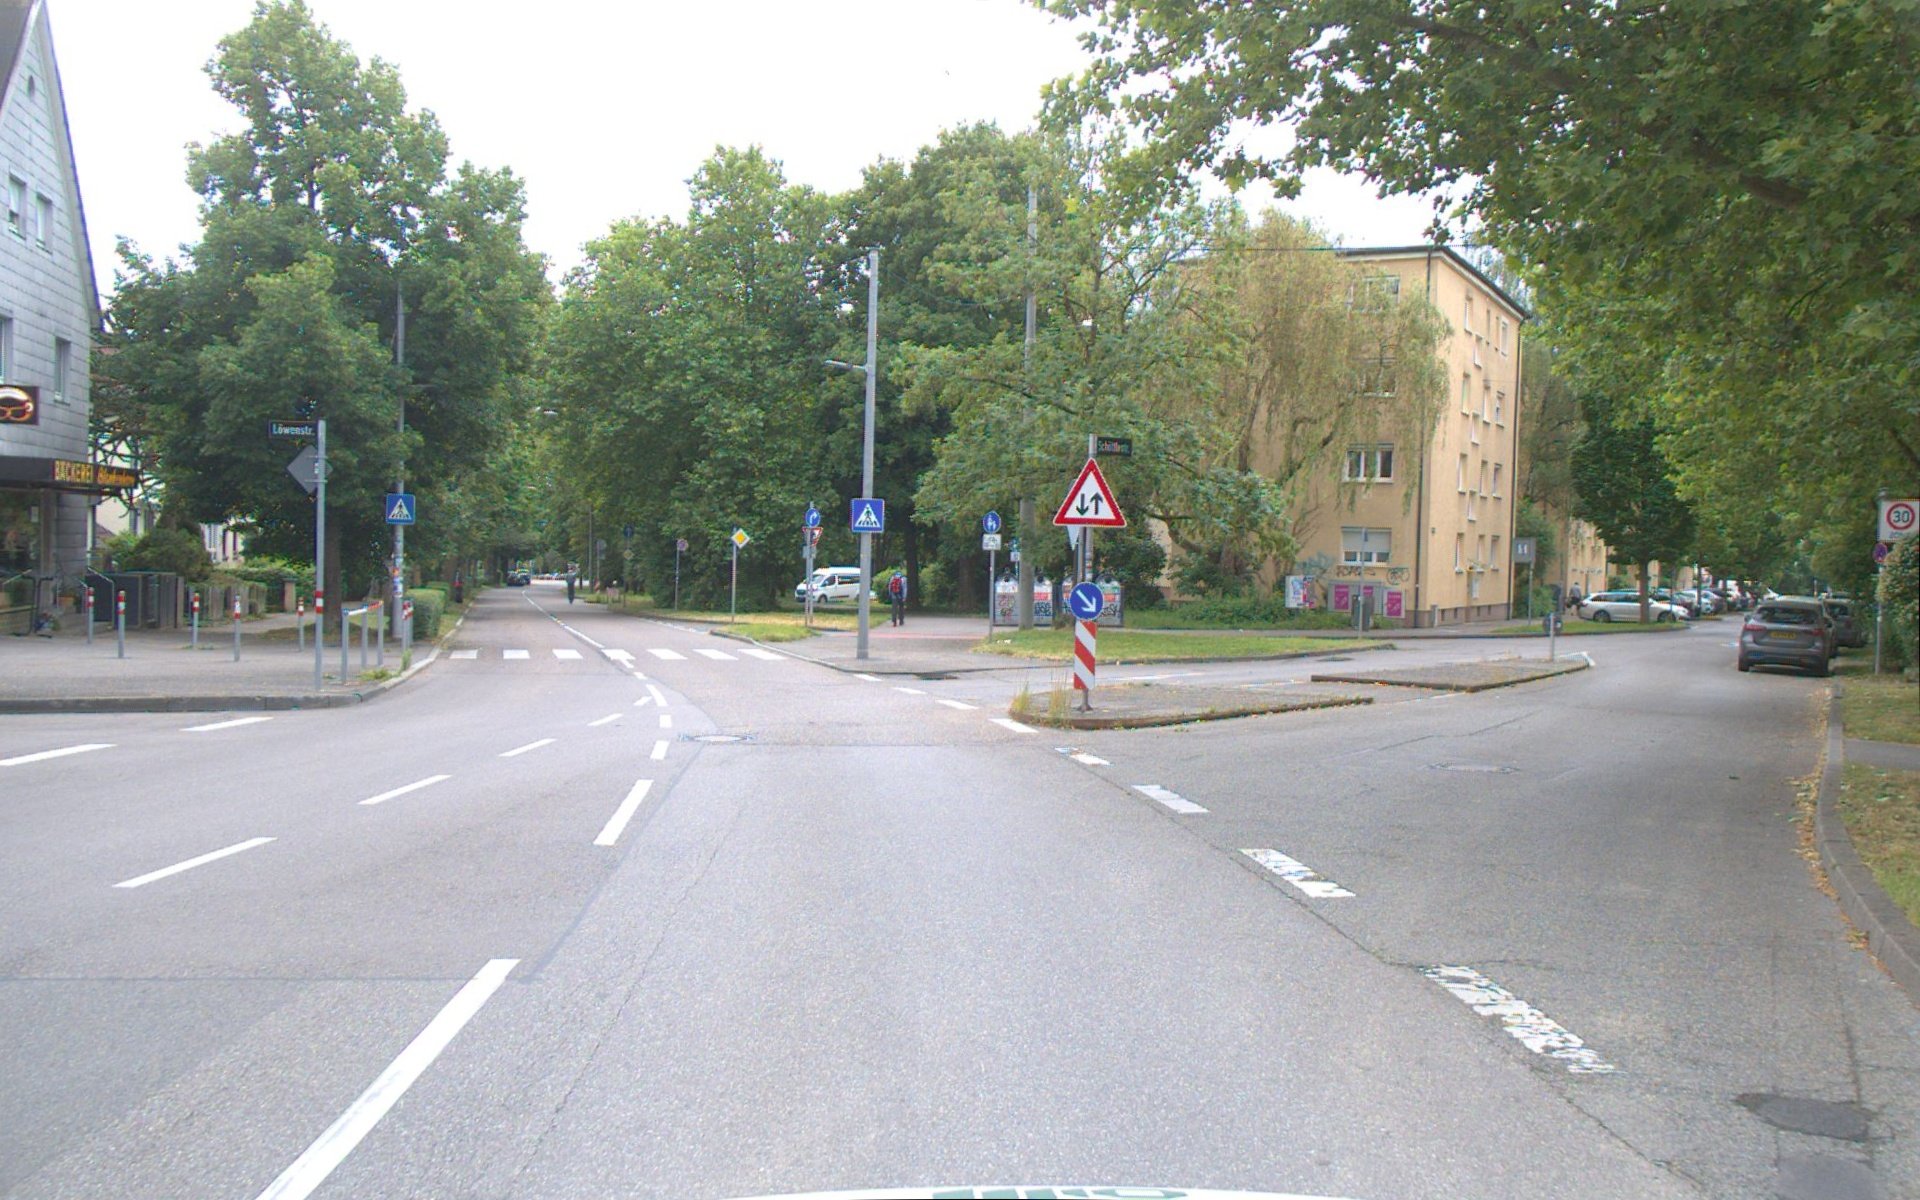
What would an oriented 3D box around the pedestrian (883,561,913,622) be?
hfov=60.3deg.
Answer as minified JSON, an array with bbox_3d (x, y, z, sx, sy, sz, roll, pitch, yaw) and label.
[{"bbox_3d":[-2.044,-0.274,54.297,0.905,1.903,1.019,-2,3,-4],"label":"pedestrian"}]

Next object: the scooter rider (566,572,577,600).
[{"bbox_3d":[-22.126,-0.812,94.195,0.590,1.579,0.564,0,2,-14],"label":"scooter rider"}]

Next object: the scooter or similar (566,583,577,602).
[{"bbox_3d":[-22.092,-0.436,94.058,0.590,1.073,0.870,0,2,-14],"label":"scooter or similar"}]

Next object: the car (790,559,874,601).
[{"bbox_3d":[-8.046,-1.238,104.321,2.098,2.336,5.359,5,2,39],"label":"car"}]

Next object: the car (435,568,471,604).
[{"bbox_3d":[-27.380,-0.776,89.303,1.618,1.754,3.779,4,1,-20],"label":"car"}]

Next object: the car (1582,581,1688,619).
[{"bbox_3d":[29.624,0.018,72.605,4.114,1.604,1.815,-1,-1,28],"label":"car"}]

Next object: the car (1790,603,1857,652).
[{"bbox_3d":[27.696,0.887,53.009,1.613,1.399,3.436,5,1,31],"label":"car"}]

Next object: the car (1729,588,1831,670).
[{"bbox_3d":[18.375,0.626,36.985,1.839,1.595,4.013,5,1,28],"label":"car"}]

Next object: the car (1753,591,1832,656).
[{"bbox_3d":[23.464,0.658,46.536,1.745,1.625,4.241,4,1,29],"label":"car"}]

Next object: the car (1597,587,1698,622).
[{"bbox_3d":[31.477,0.230,75.763,4.130,1.514,1.826,-1,-1,28],"label":"car"}]

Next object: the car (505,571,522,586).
[{"bbox_3d":[-51.853,-2.474,192.067,1.805,1.524,3.640,4,1,-17],"label":"car"}]
